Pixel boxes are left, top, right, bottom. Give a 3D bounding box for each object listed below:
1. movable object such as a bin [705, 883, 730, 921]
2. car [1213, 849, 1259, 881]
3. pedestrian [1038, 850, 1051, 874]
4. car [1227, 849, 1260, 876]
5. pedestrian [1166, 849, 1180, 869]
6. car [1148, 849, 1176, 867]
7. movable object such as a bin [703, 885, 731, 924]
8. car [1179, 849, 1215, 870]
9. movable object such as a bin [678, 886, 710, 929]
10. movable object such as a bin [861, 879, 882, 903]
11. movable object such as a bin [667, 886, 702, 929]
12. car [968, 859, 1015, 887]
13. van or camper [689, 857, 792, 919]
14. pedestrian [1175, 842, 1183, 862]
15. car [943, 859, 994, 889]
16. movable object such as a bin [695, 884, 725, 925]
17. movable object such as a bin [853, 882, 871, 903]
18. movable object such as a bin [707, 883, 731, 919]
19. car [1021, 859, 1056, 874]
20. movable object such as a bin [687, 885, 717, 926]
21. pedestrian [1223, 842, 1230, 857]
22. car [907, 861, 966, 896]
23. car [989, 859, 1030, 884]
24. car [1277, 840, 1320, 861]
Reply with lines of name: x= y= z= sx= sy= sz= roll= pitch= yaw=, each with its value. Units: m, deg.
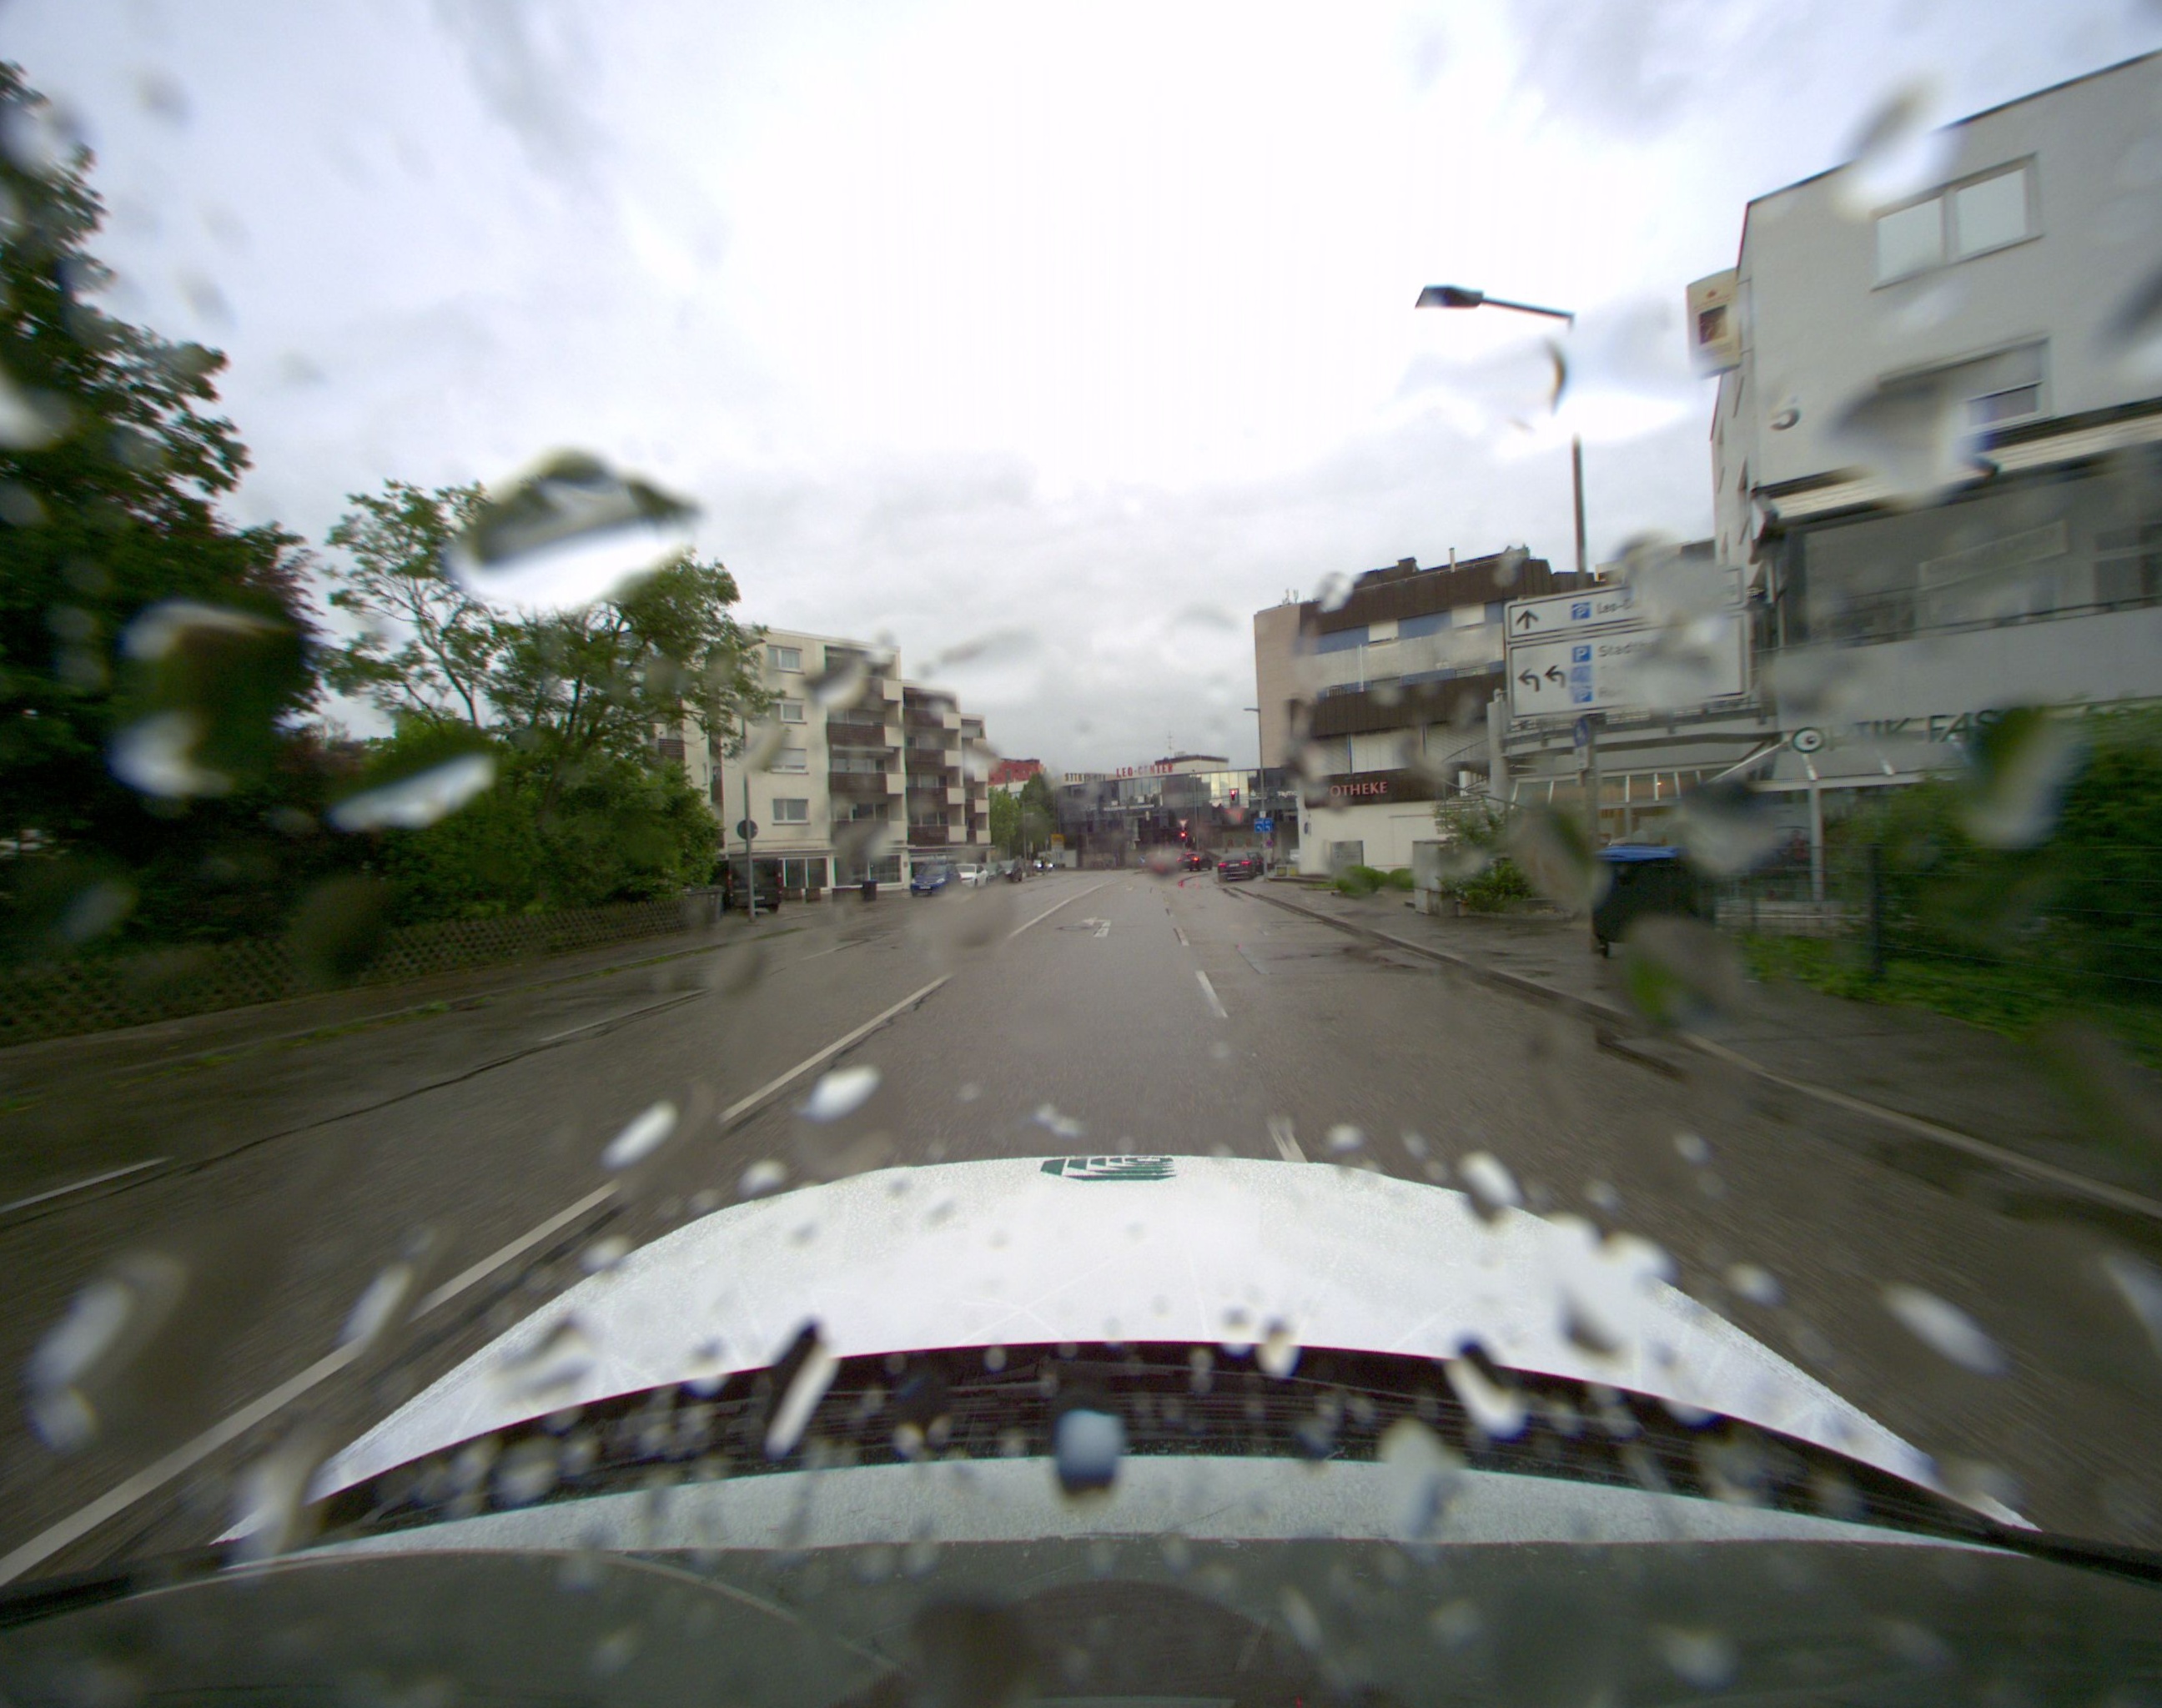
movable object such as a bin: x=-11.446 y=1.499 z=25.625 sx=0.603 sy=1.118 sz=0.595 roll=-3 pitch=0 yaw=-31
car: x=8.225 y=0.581 z=42.903 sx=1.979 sy=1.534 sz=4.666 roll=-2 pitch=-1 yaw=15
pedestrian: x=-3.162 y=0.711 z=71.062 sx=0.741 sy=2.013 sz=0.926 roll=1 pitch=0 yaw=26
car: x=10.365 y=0.499 z=51.840 sx=1.686 sy=1.486 sz=4.016 roll=-6 pitch=-1 yaw=14
pedestrian: x=7.886 y=0.445 z=69.542 sx=0.912 sy=1.659 sz=0.750 roll=1 pitch=1 yaw=-22
car: x=7.929 y=0.378 z=79.191 sx=1.810 sy=1.439 sz=3.859 roll=-4 pitch=0 yaw=18
movable object such as a bin: x=-11.012 y=1.513 z=24.652 sx=0.598 sy=1.118 sz=0.600 roll=-3 pitch=0 yaw=-8
car: x=8.904 y=0.398 z=62.306 sx=1.789 sy=1.419 sz=4.022 roll=-3 pitch=0 yaw=22
movable object such as a bin: x=-10.826 y=1.490 z=22.778 sx=0.598 sy=1.118 sz=0.600 roll=-3 pitch=0 yaw=-8
movable object such as a bin: x=-9.122 y=1.599 z=35.463 sx=0.644 sy=0.966 sz=0.683 roll=-3 pitch=0 yaw=5
movable object such as a bin: x=-10.782 y=1.456 z=22.170 sx=0.597 sy=1.118 sz=0.601 roll=-2 pitch=0 yaw=3
car: x=-5.493 y=1.152 z=50.745 sx=1.925 sy=1.541 sz=4.528 roll=-2 pitch=0 yaw=6
van or camper: x=-12.455 y=1.148 z=29.571 sx=2.010 sy=1.924 sz=5.157 roll=-4 pitch=2 yaw=-39
pedestrian: x=8.500 y=-0.161 z=70.459 sx=0.607 sy=1.659 sz=0.672 roll=1 pitch=1 yaw=1
car: x=-6.181 y=1.065 z=45.410 sx=1.685 sy=1.464 sz=4.692 roll=-2 pitch=0 yaw=6
movable object such as a bin: x=-10.933 y=1.483 z=24.029 sx=0.598 sy=1.118 sz=0.600 roll=-3 pitch=0 yaw=-8
movable object such as a bin: x=-9.719 y=1.701 z=36.144 sx=0.571 sy=0.903 sz=0.599 roll=-3 pitch=0 yaw=5
movable object such as a bin: x=-11.733 y=1.512 z=26.427 sx=0.603 sy=1.118 sz=0.595 roll=-3 pitch=0 yaw=-31
car: x=-4.816 y=1.385 z=91.986 sx=2.007 sy=1.511 sz=4.389 roll=0 pitch=1 yaw=-32
movable object such as a bin: x=-10.883 y=1.471 z=23.399 sx=0.598 sy=1.118 sz=0.600 roll=-3 pitch=0 yaw=-8
pedestrian: x=19.714 y=-0.603 z=110.155 sx=0.781 sy=2.013 sz=0.673 roll=-3 pitch=-1 yaw=16
car: x=-6.964 y=1.143 z=39.670 sx=1.643 sy=1.521 sz=4.331 roll=-2 pitch=0 yaw=6
car: x=-4.836 y=1.162 z=55.870 sx=1.925 sy=1.541 sz=4.280 roll=-2 pitch=0 yaw=6
car: x=22.774 y=-0.376 z=85.375 sx=2.010 sy=2.013 sz=3.954 roll=-2 pitch=0 yaw=-38
